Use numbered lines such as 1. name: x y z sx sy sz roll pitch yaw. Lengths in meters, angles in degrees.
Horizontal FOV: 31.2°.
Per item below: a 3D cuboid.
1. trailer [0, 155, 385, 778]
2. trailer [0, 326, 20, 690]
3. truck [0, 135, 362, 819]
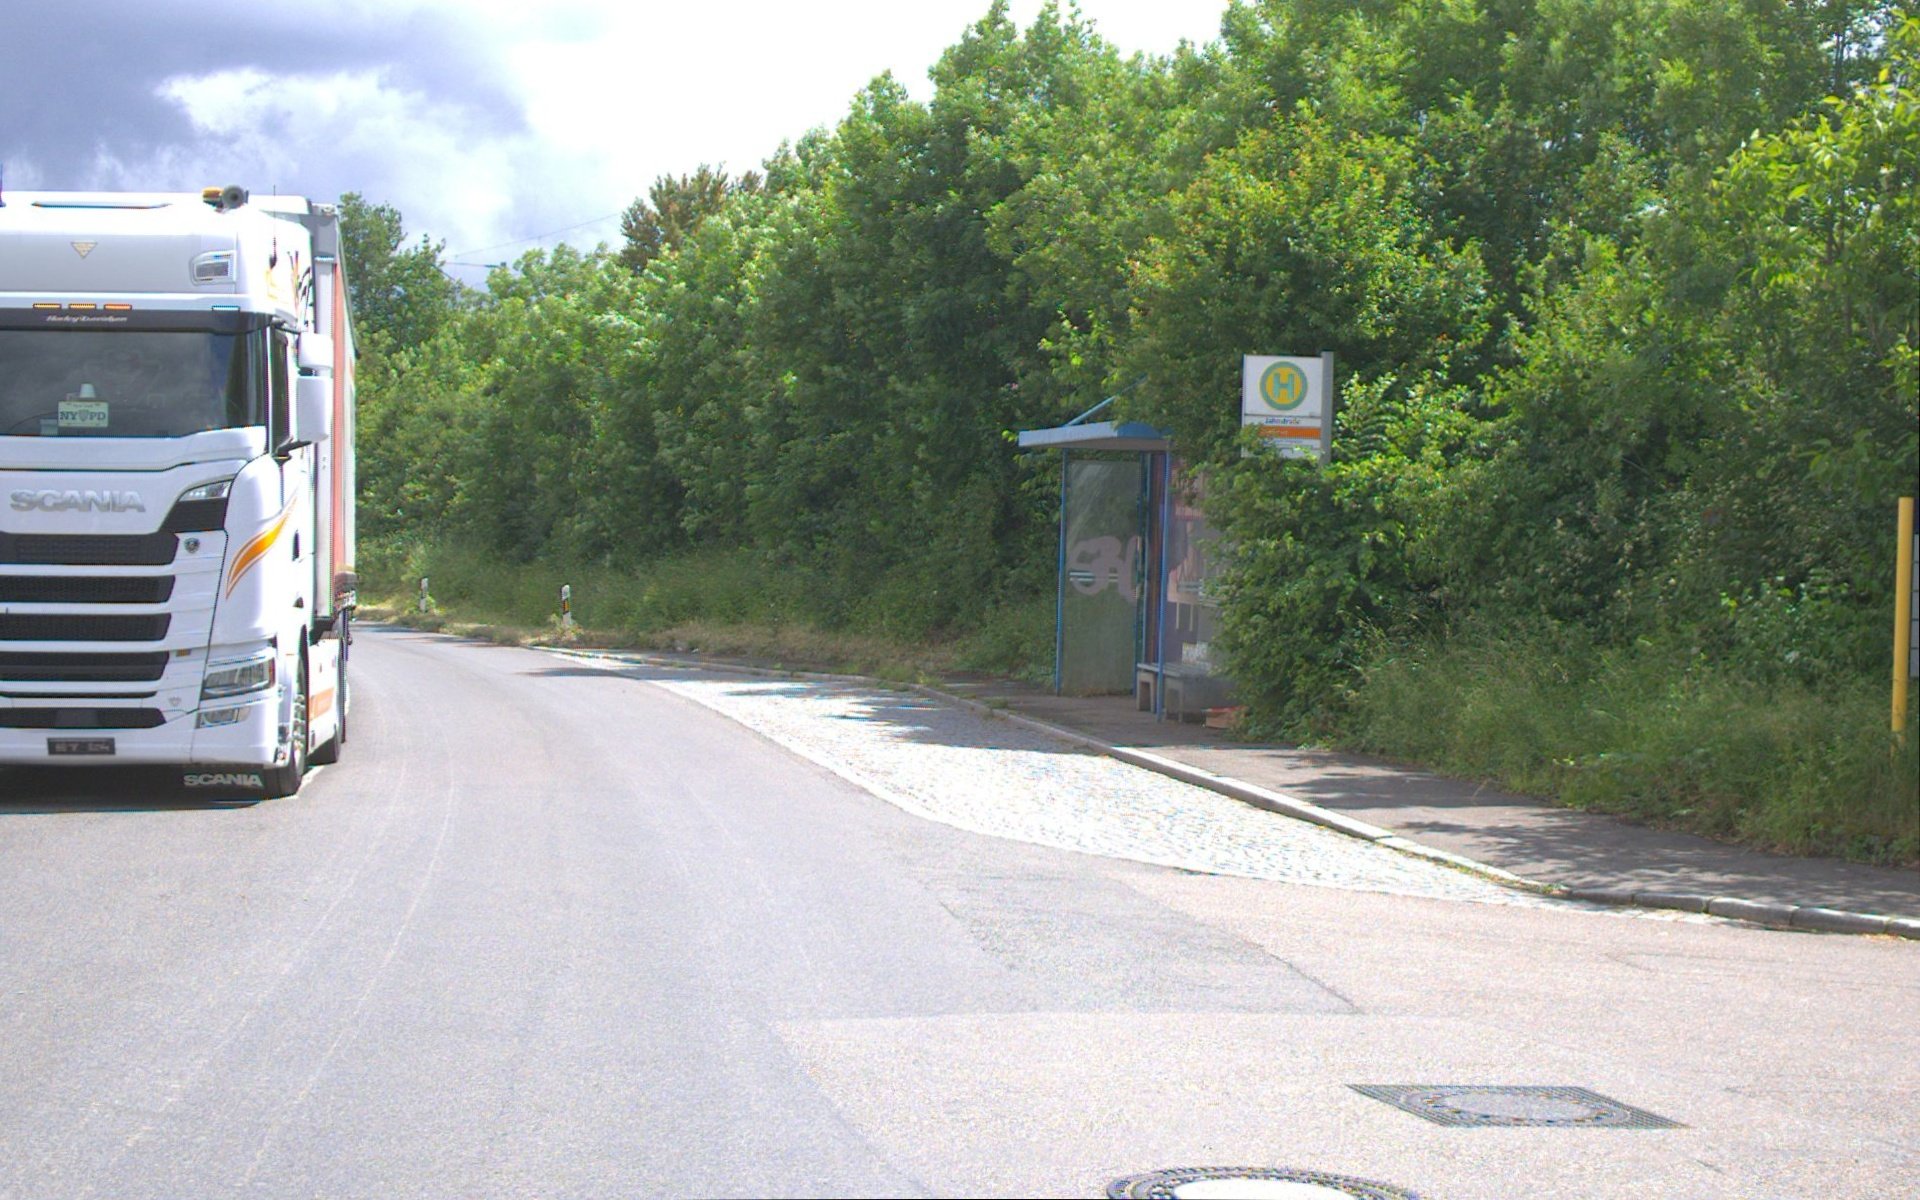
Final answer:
1. trailer: -6.711 -0.974 30.860 2.770 4.130 15.355 2 0 -9
2. trailer: -11.152 -0.979 31.534 2.798 4.039 15.560 2 0 -8
3. truck: -5.590 -0.773 23.422 2.770 4.105 4.988 2 0 -9
